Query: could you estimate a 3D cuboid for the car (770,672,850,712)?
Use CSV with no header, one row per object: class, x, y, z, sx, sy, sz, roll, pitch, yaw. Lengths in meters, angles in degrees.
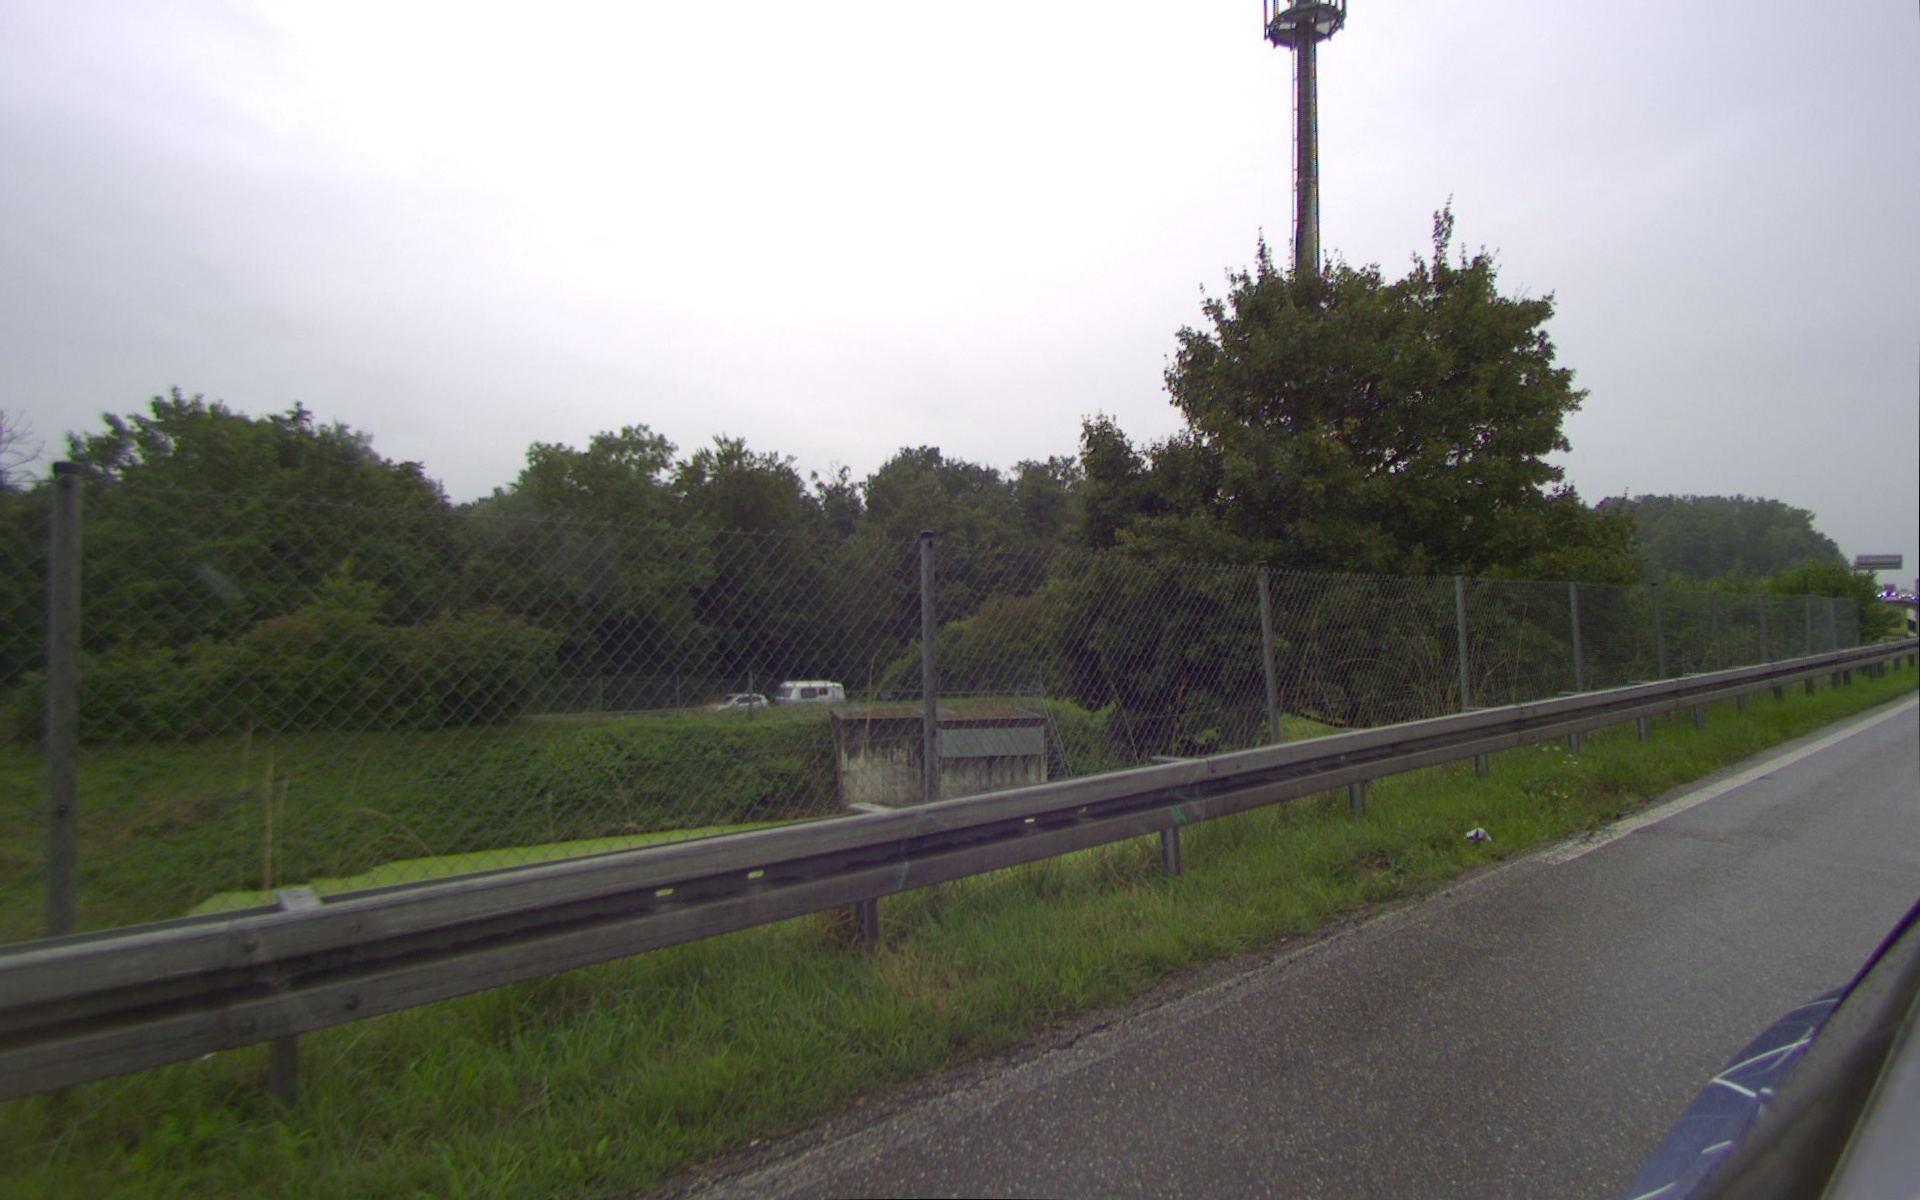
car,-9.451,5.789,64.045,1.993,2.039,4.650,-6,-3,45
